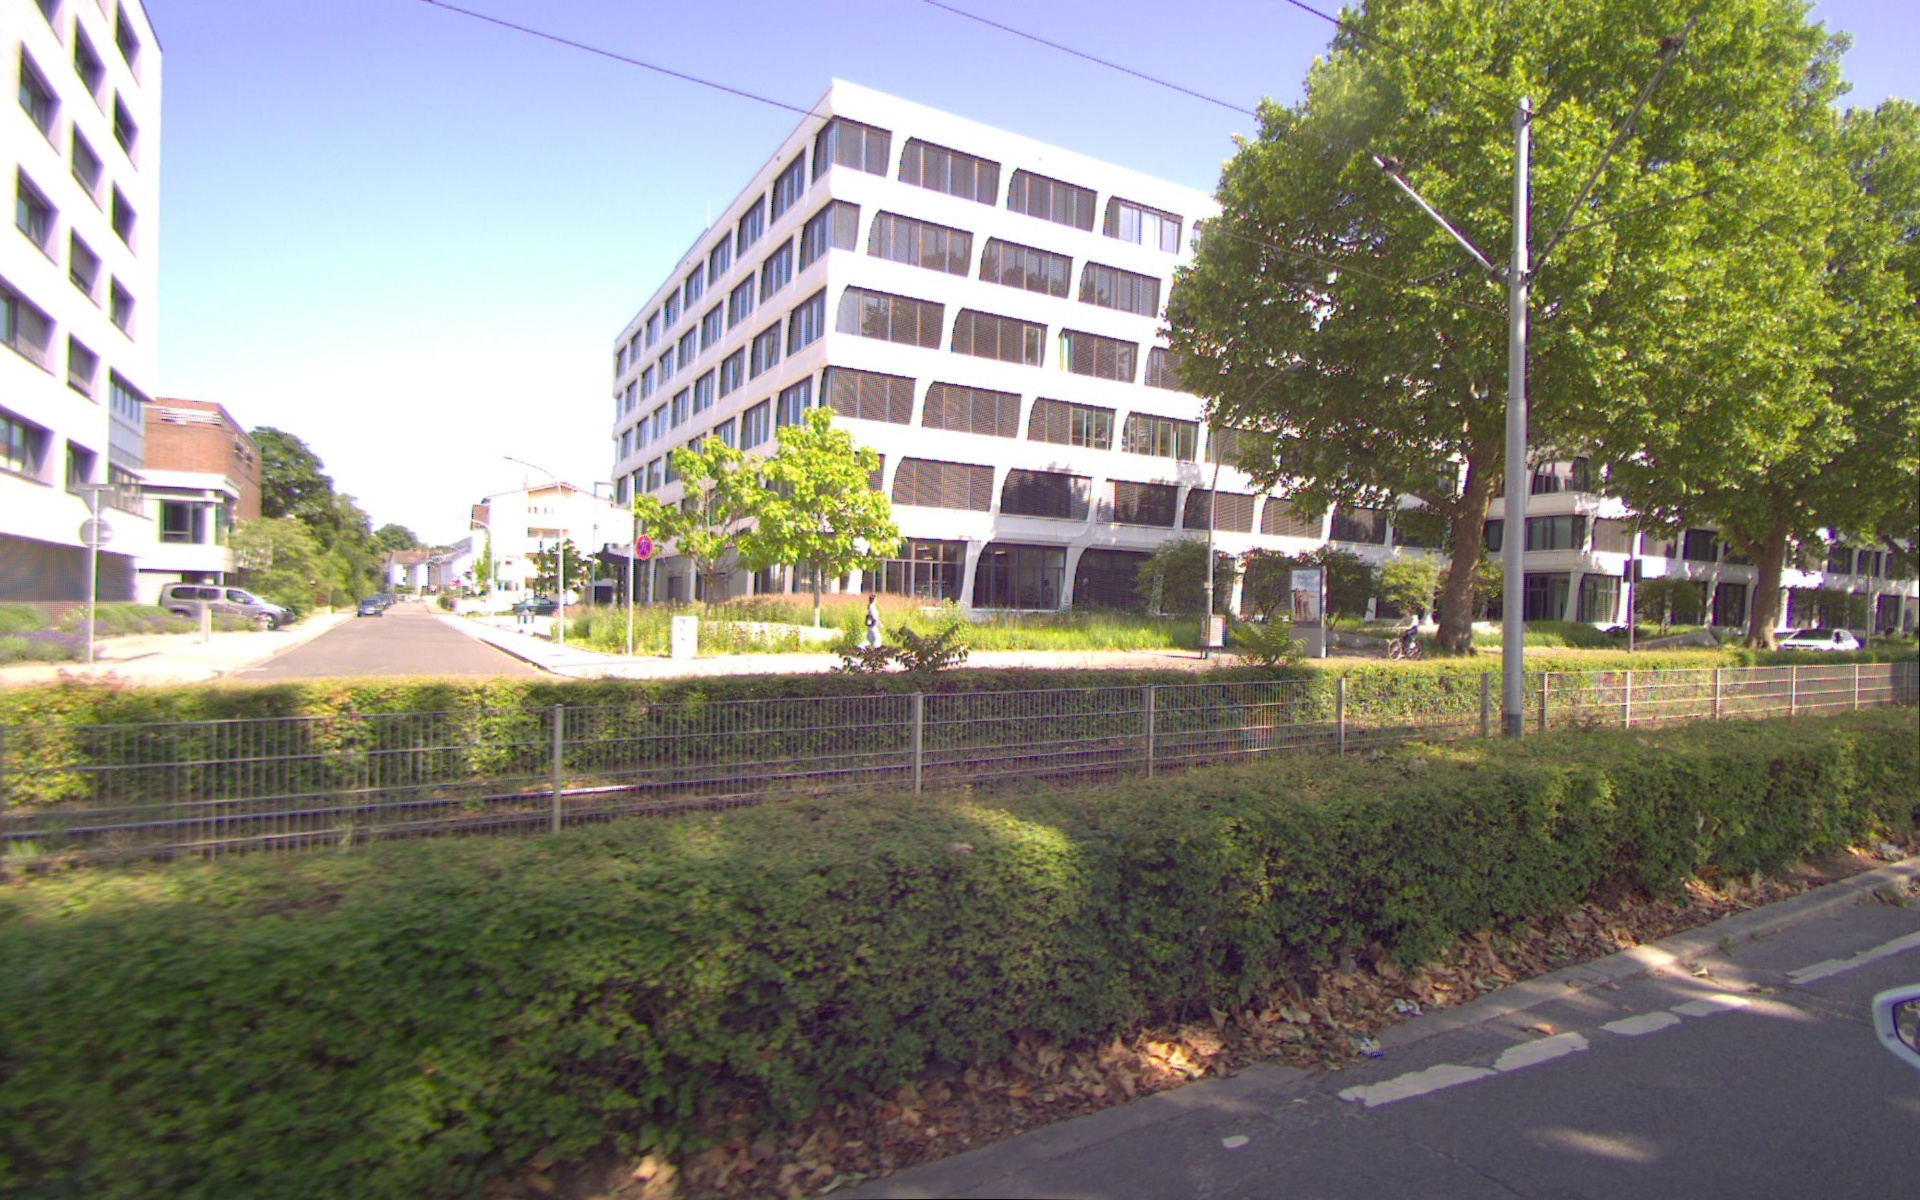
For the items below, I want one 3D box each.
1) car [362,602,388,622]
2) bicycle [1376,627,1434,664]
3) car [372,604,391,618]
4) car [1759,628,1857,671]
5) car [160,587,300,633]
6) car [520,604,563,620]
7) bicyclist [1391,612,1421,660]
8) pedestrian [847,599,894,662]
[{"bbox_3d":[-47.837,0.977,82.176,1.713,1.555,3.768,1,-1,-29],"label":"car"},{"bbox_3d":[14.479,1.470,32.684,2.007,1.139,0.661,2,0,-30],"label":"bicycle"},{"bbox_3d":[-63.682,1.208,110.641,1.713,1.555,3.825,1,-1,-29],"label":"car"},{"bbox_3d":[33.686,1.954,39.906,3.972,1.590,1.748,1,0,-30],"label":"car"},{"bbox_3d":[-31.002,0.461,42.848,4.563,1.839,1.984,2,0,-30],"label":"car"},{"bbox_3d":[-32.862,0.972,78.838,2.996,1.211,1.360,1,0,-31],"label":"car"},{"bbox_3d":[14.519,1.166,32.704,0.633,1.555,0.651,1,0,-29],"label":"bicyclist"},{"bbox_3d":[-2.353,0.785,26.315,1.003,1.609,0.717,1,0,-30],"label":"pedestrian"}]
